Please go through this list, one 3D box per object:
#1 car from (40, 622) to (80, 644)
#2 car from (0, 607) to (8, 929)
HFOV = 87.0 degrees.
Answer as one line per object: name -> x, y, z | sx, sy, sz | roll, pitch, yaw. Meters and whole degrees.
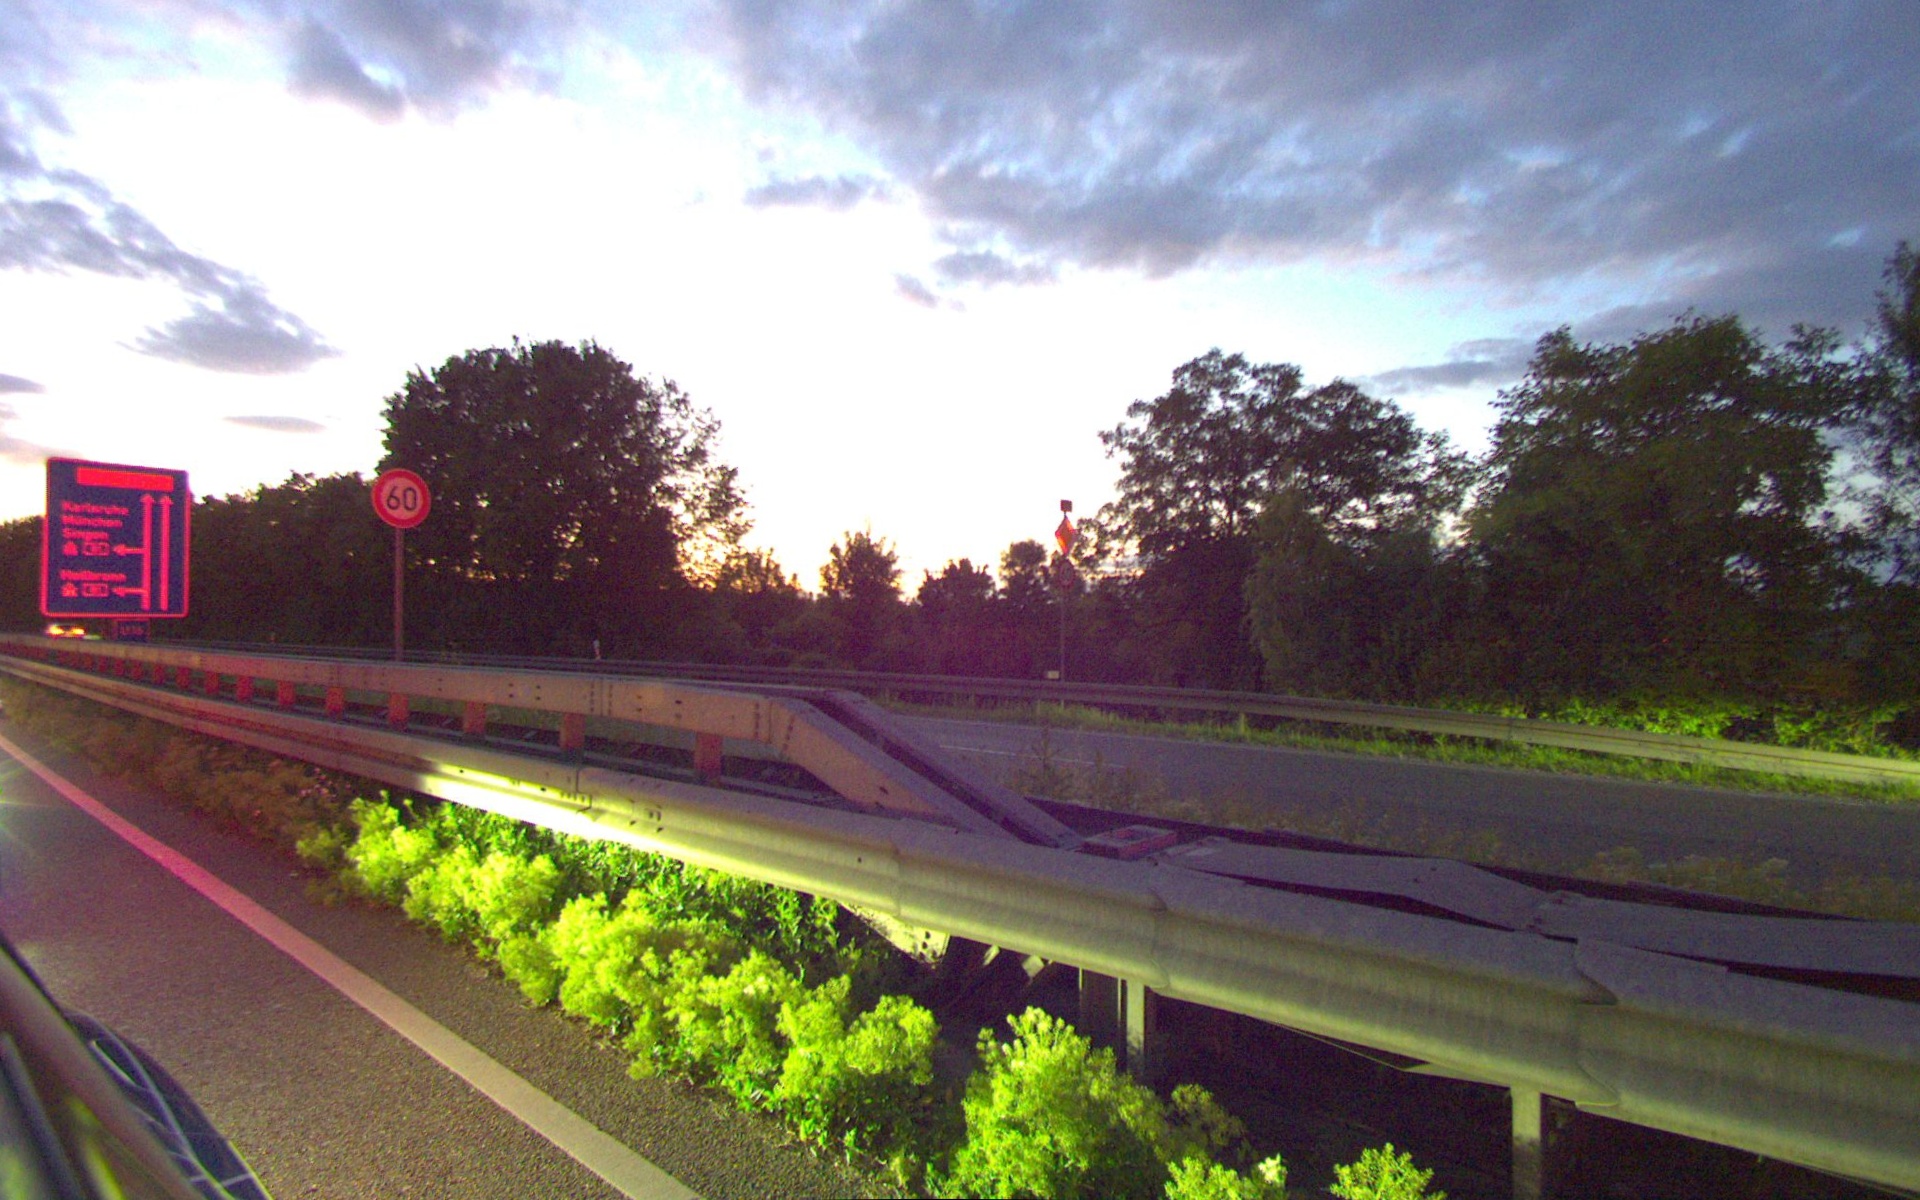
car -> -67.382, 2.449, 75.720 | 3.998, 1.572, 1.758 | -1, 0, 41
car -> -6.626, 0.835, 5.467 | 4.645, 1.447, 1.795 | -2, -1, 42
